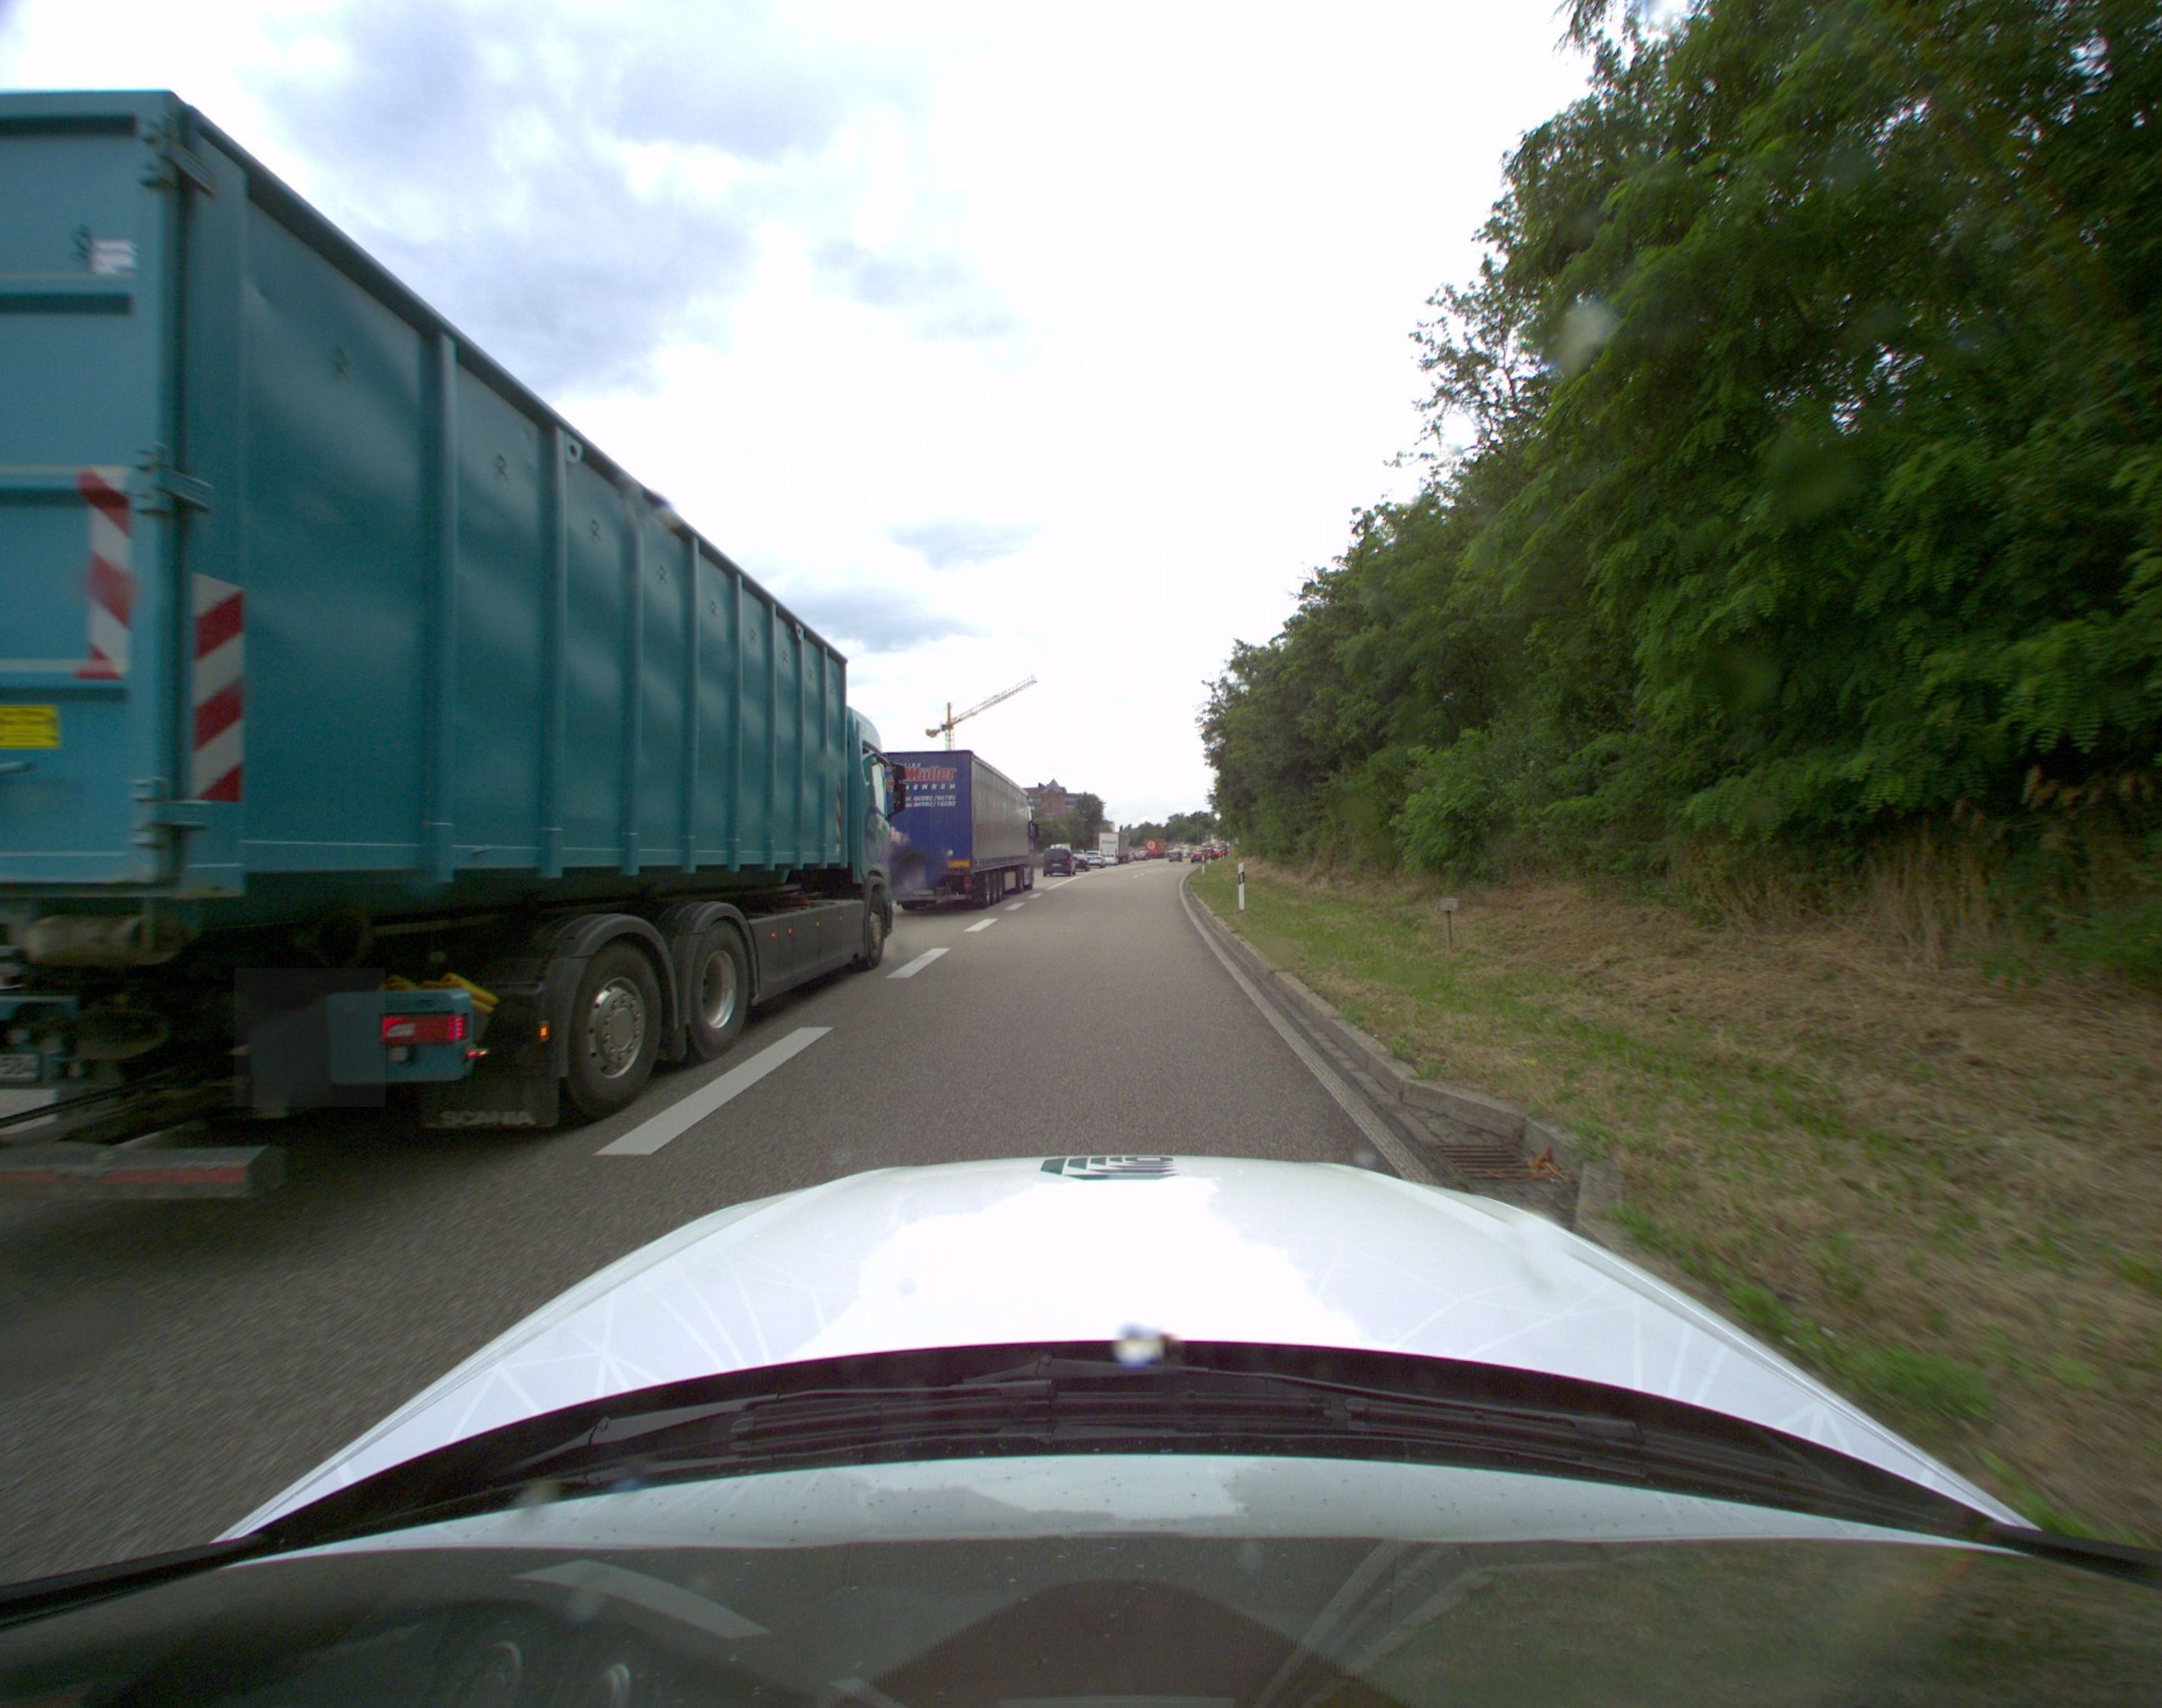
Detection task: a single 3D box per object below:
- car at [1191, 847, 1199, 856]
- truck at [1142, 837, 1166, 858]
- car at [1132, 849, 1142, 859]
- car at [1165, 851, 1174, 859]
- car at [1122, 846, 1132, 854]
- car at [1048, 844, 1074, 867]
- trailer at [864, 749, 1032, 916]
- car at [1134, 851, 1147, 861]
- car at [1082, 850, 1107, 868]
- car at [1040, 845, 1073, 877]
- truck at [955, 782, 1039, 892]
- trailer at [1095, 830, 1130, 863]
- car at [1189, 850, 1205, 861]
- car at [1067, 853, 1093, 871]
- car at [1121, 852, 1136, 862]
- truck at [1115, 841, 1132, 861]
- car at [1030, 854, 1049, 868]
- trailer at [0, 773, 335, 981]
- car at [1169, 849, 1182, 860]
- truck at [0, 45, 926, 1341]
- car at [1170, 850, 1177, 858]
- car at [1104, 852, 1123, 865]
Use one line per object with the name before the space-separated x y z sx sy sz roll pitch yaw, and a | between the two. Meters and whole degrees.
car | 28.616 -0.617 204.492 1.940 2.013 4.010 -1 0 9
truck | 15.226 -1.372 168.488 3.467 4.073 13.635 -2 0 11
car | 11.626 0.009 169.110 1.807 2.013 4.009 -1 0 8
car | 20.877 0.173 192.117 1.603 1.948 3.718 0 0 14
car | 11.763 -0.928 206.821 1.981 2.013 4.012 -1 0 11
car | -2.290 0.176 94.210 1.982 2.553 5.375 -1 0 8
trailer | -3.611 -0.476 26.420 2.616 4.022 13.472 0 0 3
car | 10.032 0.307 136.694 1.707 1.684 4.011 0 0 10
car | 1.372 0.500 81.948 1.945 1.695 4.876 0 0 8
car | -1.659 0.473 55.934 1.982 1.898 4.982 -4 0 -1
truck | -3.233 -0.596 33.032 2.551 4.042 6.591 0 0 1
trailer | 4.279 -0.820 106.100 3.280 4.036 13.126 0 0 8
car | 15.440 0.171 108.530 1.813 1.482 4.014 -1 0 12
car | -0.040 0.636 68.989 1.839 1.460 4.836 0 0 4
car | 7.355 0.485 126.373 1.789 1.604 4.269 0 0 10
truck | 9.045 -0.582 171.324 2.724 4.138 10.718 0 0 7
car | -4.137 0.681 81.770 1.434 1.387 3.051 0 0 5
trailer | -18.894 0.402 12.890 2.461 3.396 12.465 -2 0 1
car | 13.928 0.076 120.008 1.815 1.482 4.009 -2 0 7
truck | -4.138 -0.457 8.039 2.919 3.796 11.329 -2 0 0
car | 23.049 -0.047 203.229 1.604 1.948 3.716 0 0 11
car | 3.715 0.496 93.253 1.755 1.478 4.097 -1 0 7
